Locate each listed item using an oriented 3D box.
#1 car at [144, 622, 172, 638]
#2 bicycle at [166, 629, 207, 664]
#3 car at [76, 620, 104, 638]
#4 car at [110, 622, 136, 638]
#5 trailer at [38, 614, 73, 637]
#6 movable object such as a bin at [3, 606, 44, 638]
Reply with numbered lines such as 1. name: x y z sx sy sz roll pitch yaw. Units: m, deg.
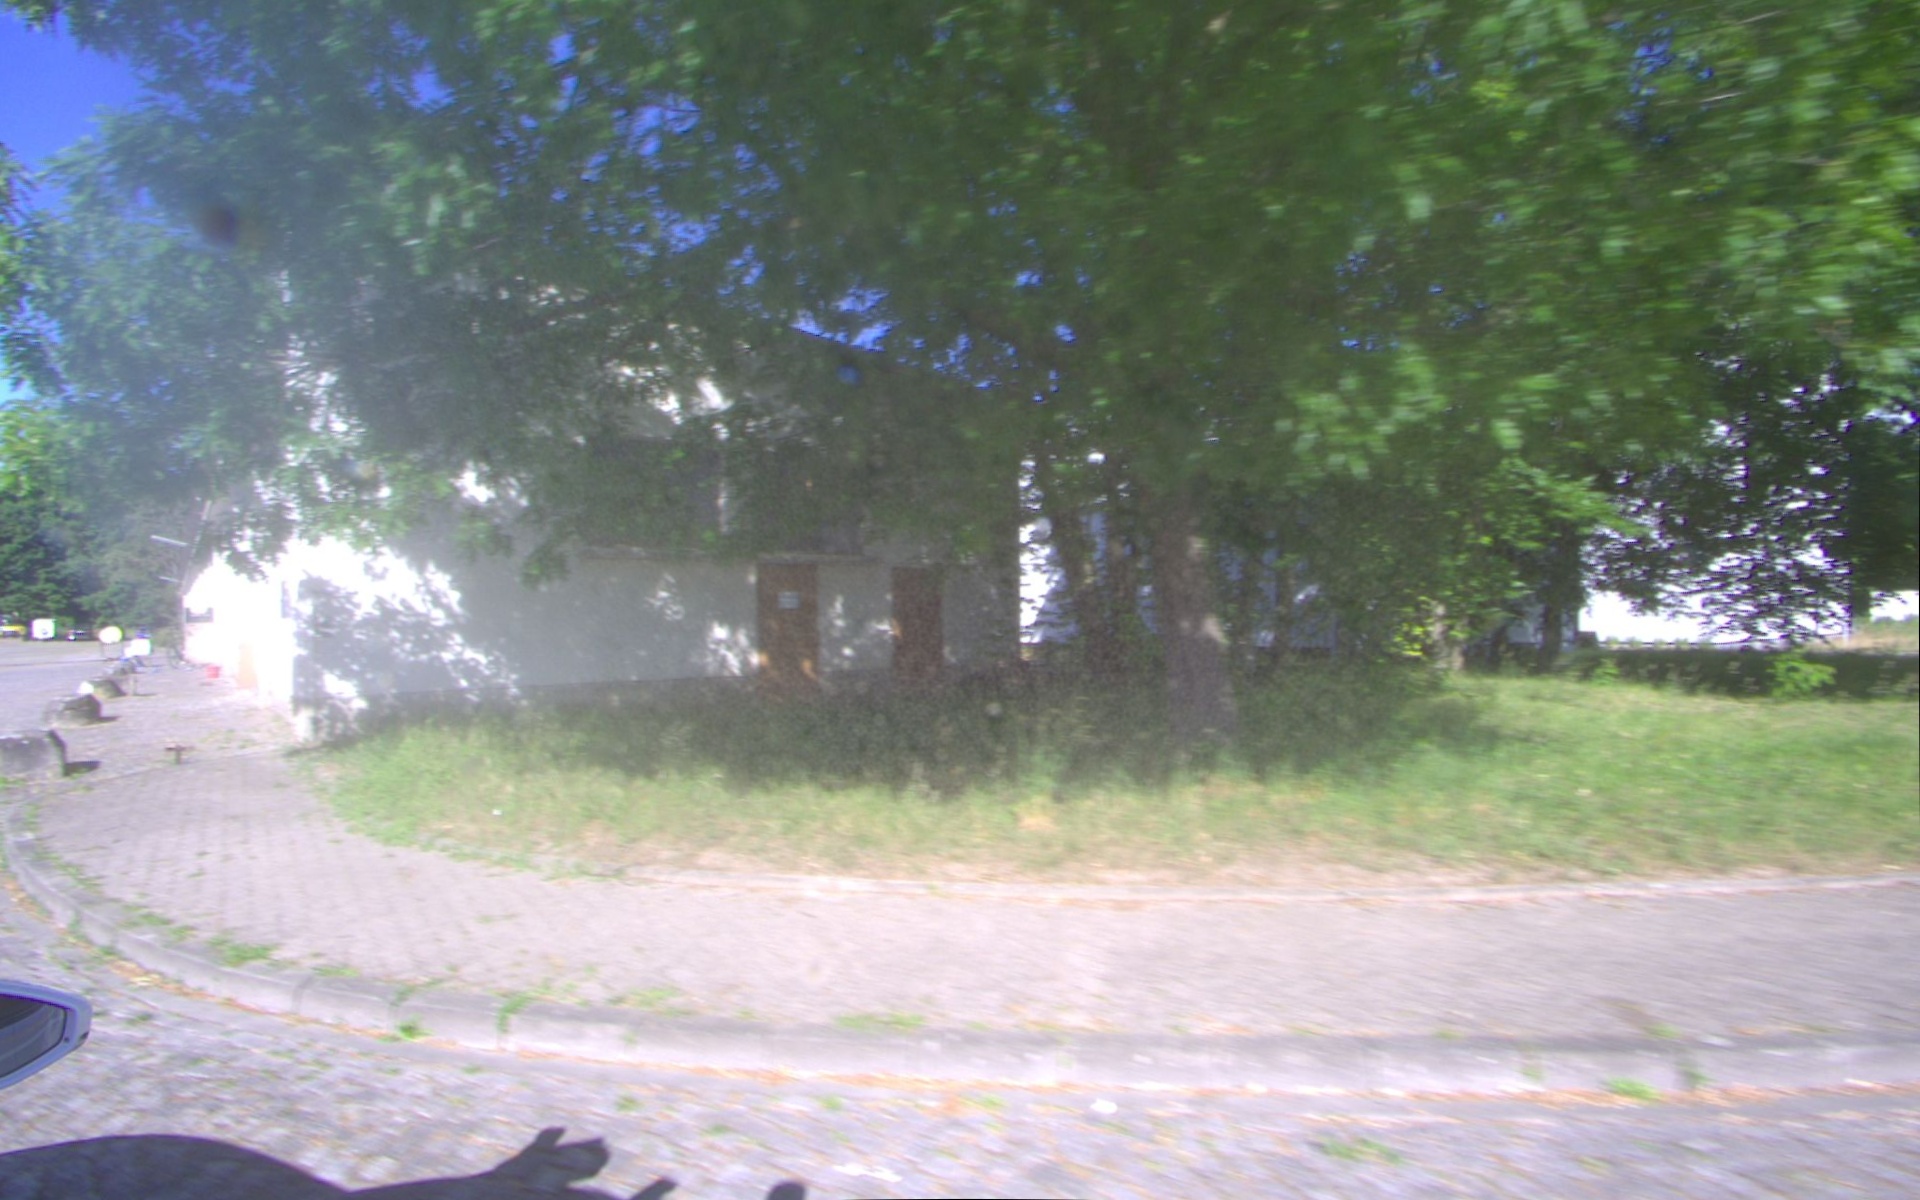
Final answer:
1. car: -81.822 3.055 102.207 1.727 1.455 4.156 2 -1 -33
2. bicycle: -24.349 1.456 31.531 0.656 1.081 1.817 1 -2 -26
3. car: -85.698 2.862 98.699 1.848 1.610 4.260 2 -1 -38
4. car: -83.999 2.985 100.535 1.848 1.489 4.260 2 -1 -38
5. trailer: -89.244 2.540 98.878 2.175 2.122 5.704 2 -1 -38
6. movable object such as a bin: -91.446 2.130 97.862 2.287 2.934 5.706 2 -1 -37
